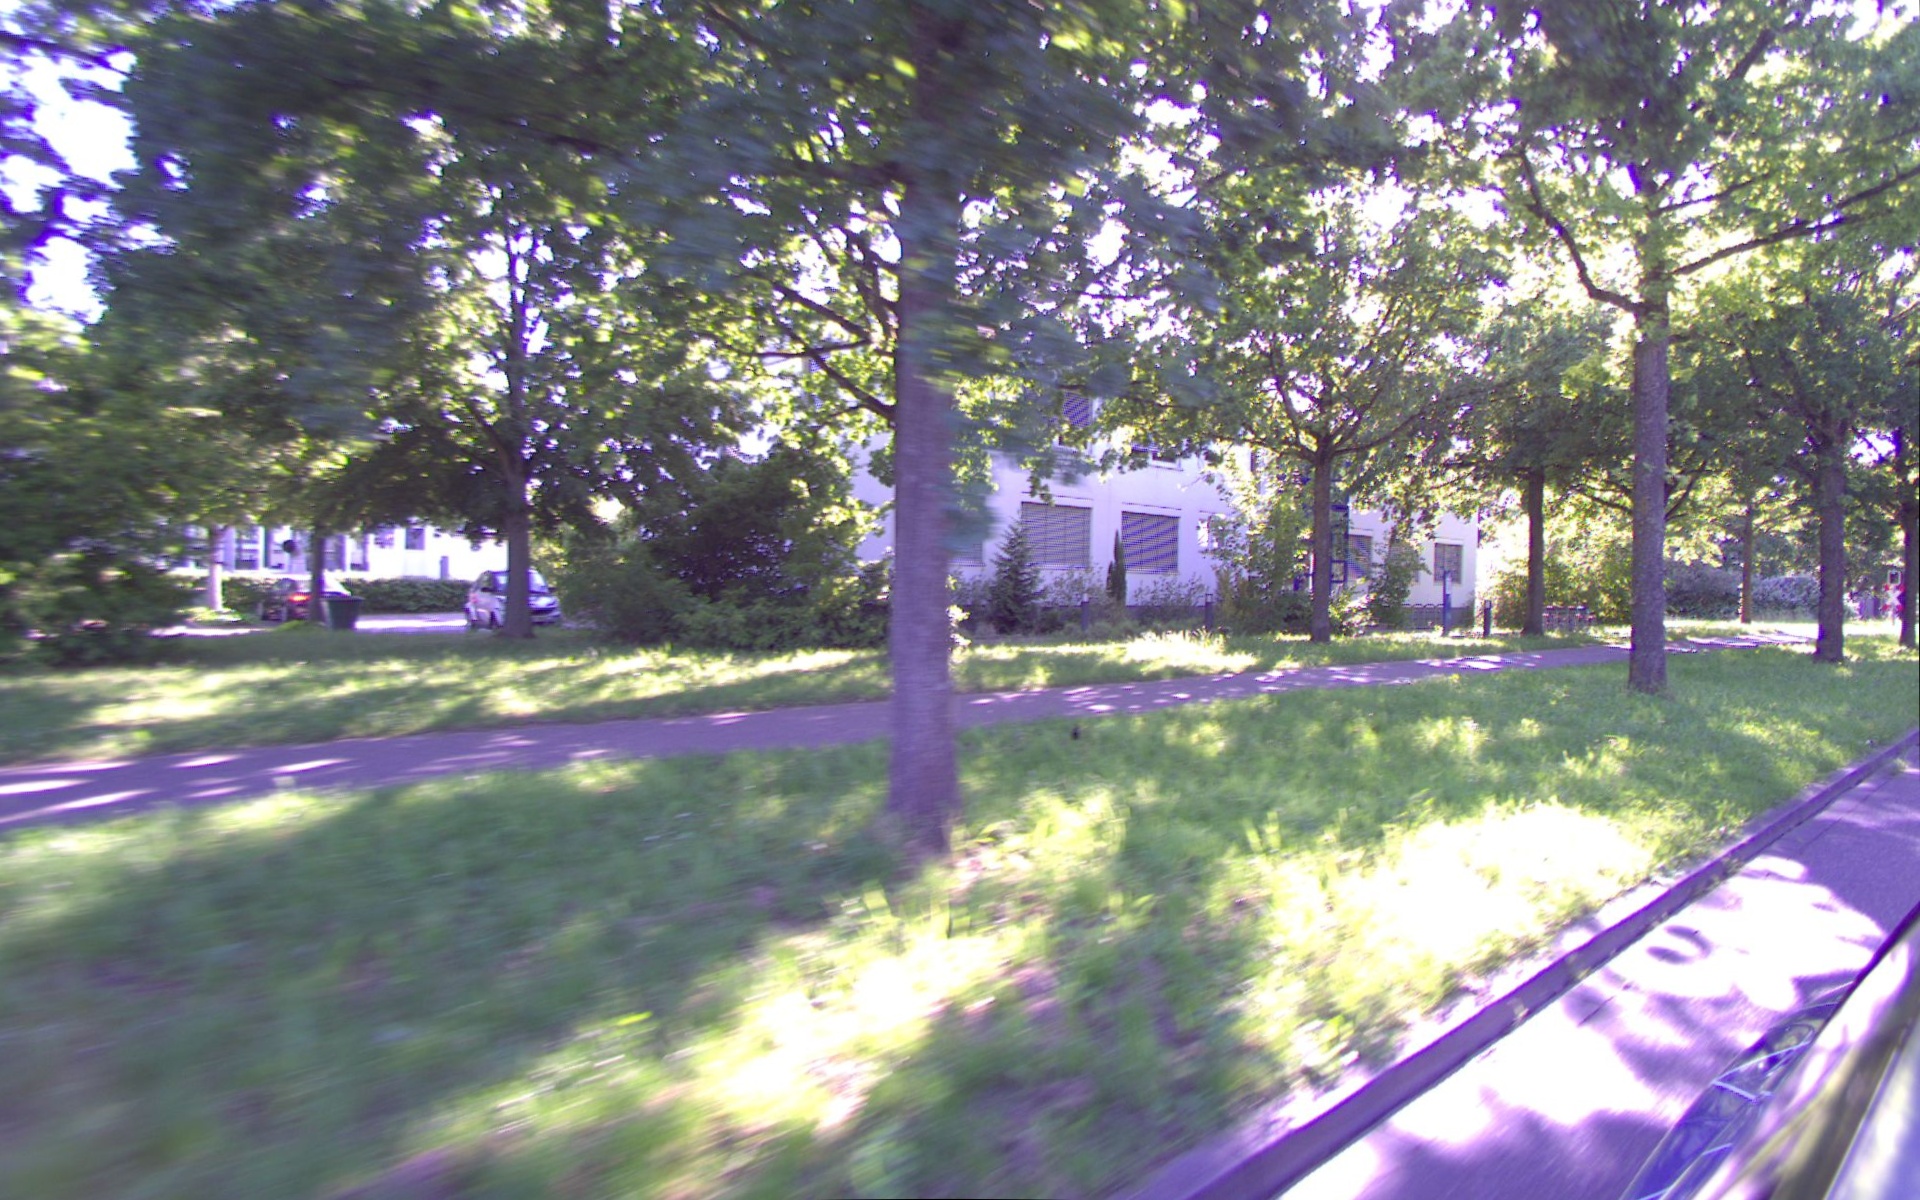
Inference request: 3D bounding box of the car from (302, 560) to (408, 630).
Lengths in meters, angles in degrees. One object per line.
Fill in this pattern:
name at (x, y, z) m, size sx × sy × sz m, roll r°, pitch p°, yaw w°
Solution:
car at (-12.448, -0.132, 20.737) m, size 1.401 × 1.309 × 3.409 m, roll 0°, pitch 1°, yaw -39°
